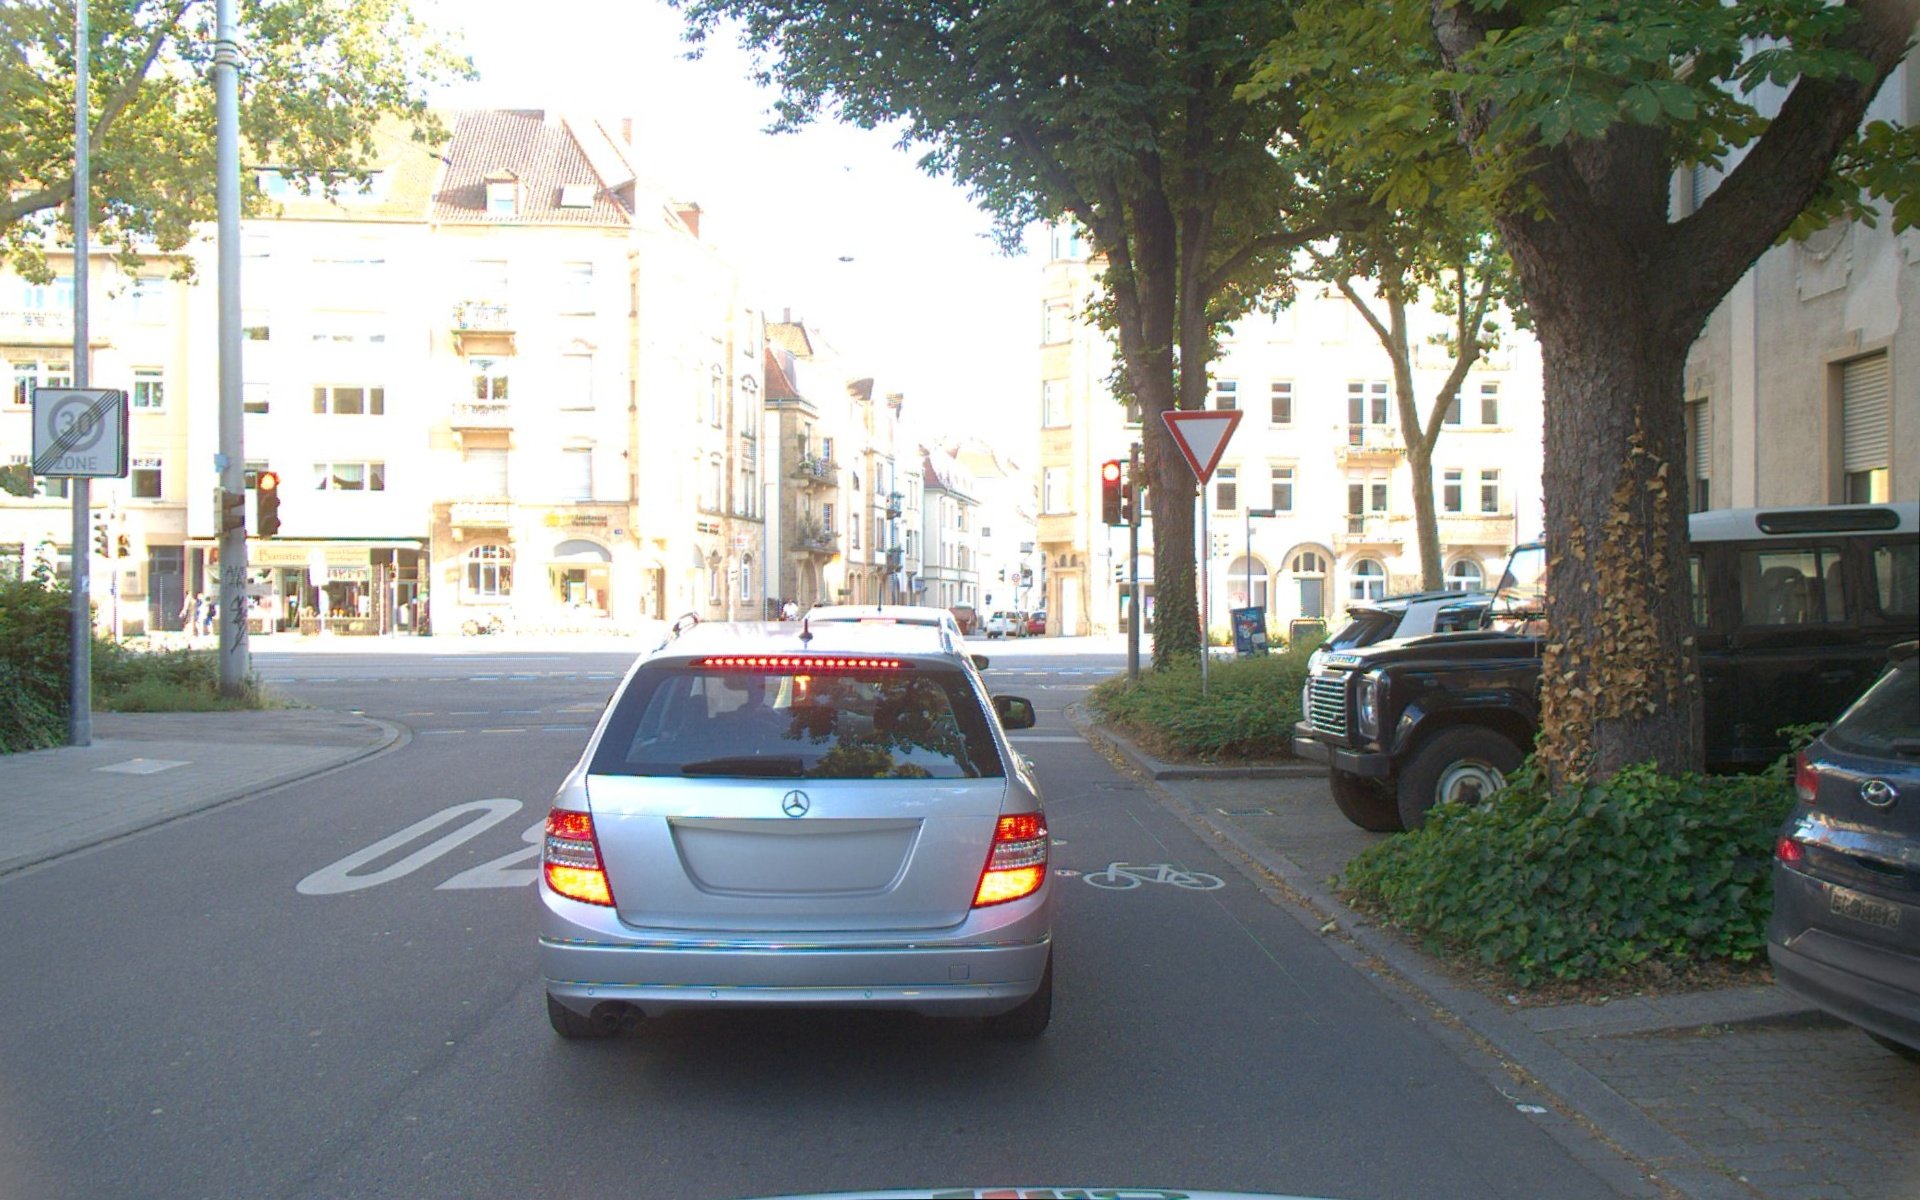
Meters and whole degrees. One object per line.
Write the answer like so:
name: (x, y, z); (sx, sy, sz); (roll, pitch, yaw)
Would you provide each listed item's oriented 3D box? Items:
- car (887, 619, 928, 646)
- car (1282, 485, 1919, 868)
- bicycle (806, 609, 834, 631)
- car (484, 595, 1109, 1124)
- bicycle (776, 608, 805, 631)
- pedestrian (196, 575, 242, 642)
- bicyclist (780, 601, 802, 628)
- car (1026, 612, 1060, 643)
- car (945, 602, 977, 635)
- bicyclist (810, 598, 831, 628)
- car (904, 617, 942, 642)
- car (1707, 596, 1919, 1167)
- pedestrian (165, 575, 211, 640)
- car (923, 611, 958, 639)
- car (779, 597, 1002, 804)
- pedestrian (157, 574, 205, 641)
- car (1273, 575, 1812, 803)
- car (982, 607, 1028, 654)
car: (-3.068, 1.872, 96.961); (1.796, 1.427, 4.003); (0, 1, 7)
car: (4.373, 0.407, 10.178); (4.377, 2.072, 1.699); (-1, 0, -4)
bicycle: (-6.205, 0.882, 73.361); (0.754, 0.950, 1.942); (1, 0, 10)
car: (-0.546, 0.734, 6.937); (1.741, 1.477, 4.546); (1, 0, -2)
bicycle: (-7.501, 0.867, 73.254); (0.754, 0.956, 1.942); (1, 0, 10)
pedestrian: (-28.429, 0.322, 63.486); (1.320, 2.507, 1.059); (0, 0, -5)
bicyclist: (-7.483, 0.641, 73.332); (0.754, 1.177, 0.753); (1, 0, 10)
car: (5.122, 1.656, 101.980); (1.796, 1.775, 4.003); (0, 1, 7)
car: (0.087, 1.282, 117.327); (1.749, 2.242, 4.003); (0, 1, 7)
bicyclist: (-6.203, 0.583, 73.363); (0.754, 1.312, 0.753); (1, 0, 10)
car: (-2.269, 1.823, 102.465); (1.796, 1.427, 4.003); (0, 1, 7)
car: (4.289, 0.697, 4.600); (3.650, 1.477, 1.707); (-1, 0, -4)
pedestrian: (-29.956, 0.297, 64.202); (1.320, 2.507, 1.059); (0, 0, -5)
car: (-1.265, 1.635, 108.713); (1.796, 1.692, 4.003); (0, 1, 7)
car: (-0.587, 0.724, 14.027); (1.587, 1.472, 4.342); (1, 0, -2)
pedestrian: (-29.405, 0.285, 62.422); (1.320, 2.507, 1.059); (0, 0, -5)
car: (4.515, 0.655, 13.146); (3.650, 1.597, 1.707); (-1, 0, -4)
car: (2.358, 1.553, 85.907); (1.987, 2.319, 4.003); (0, 1, 7)
